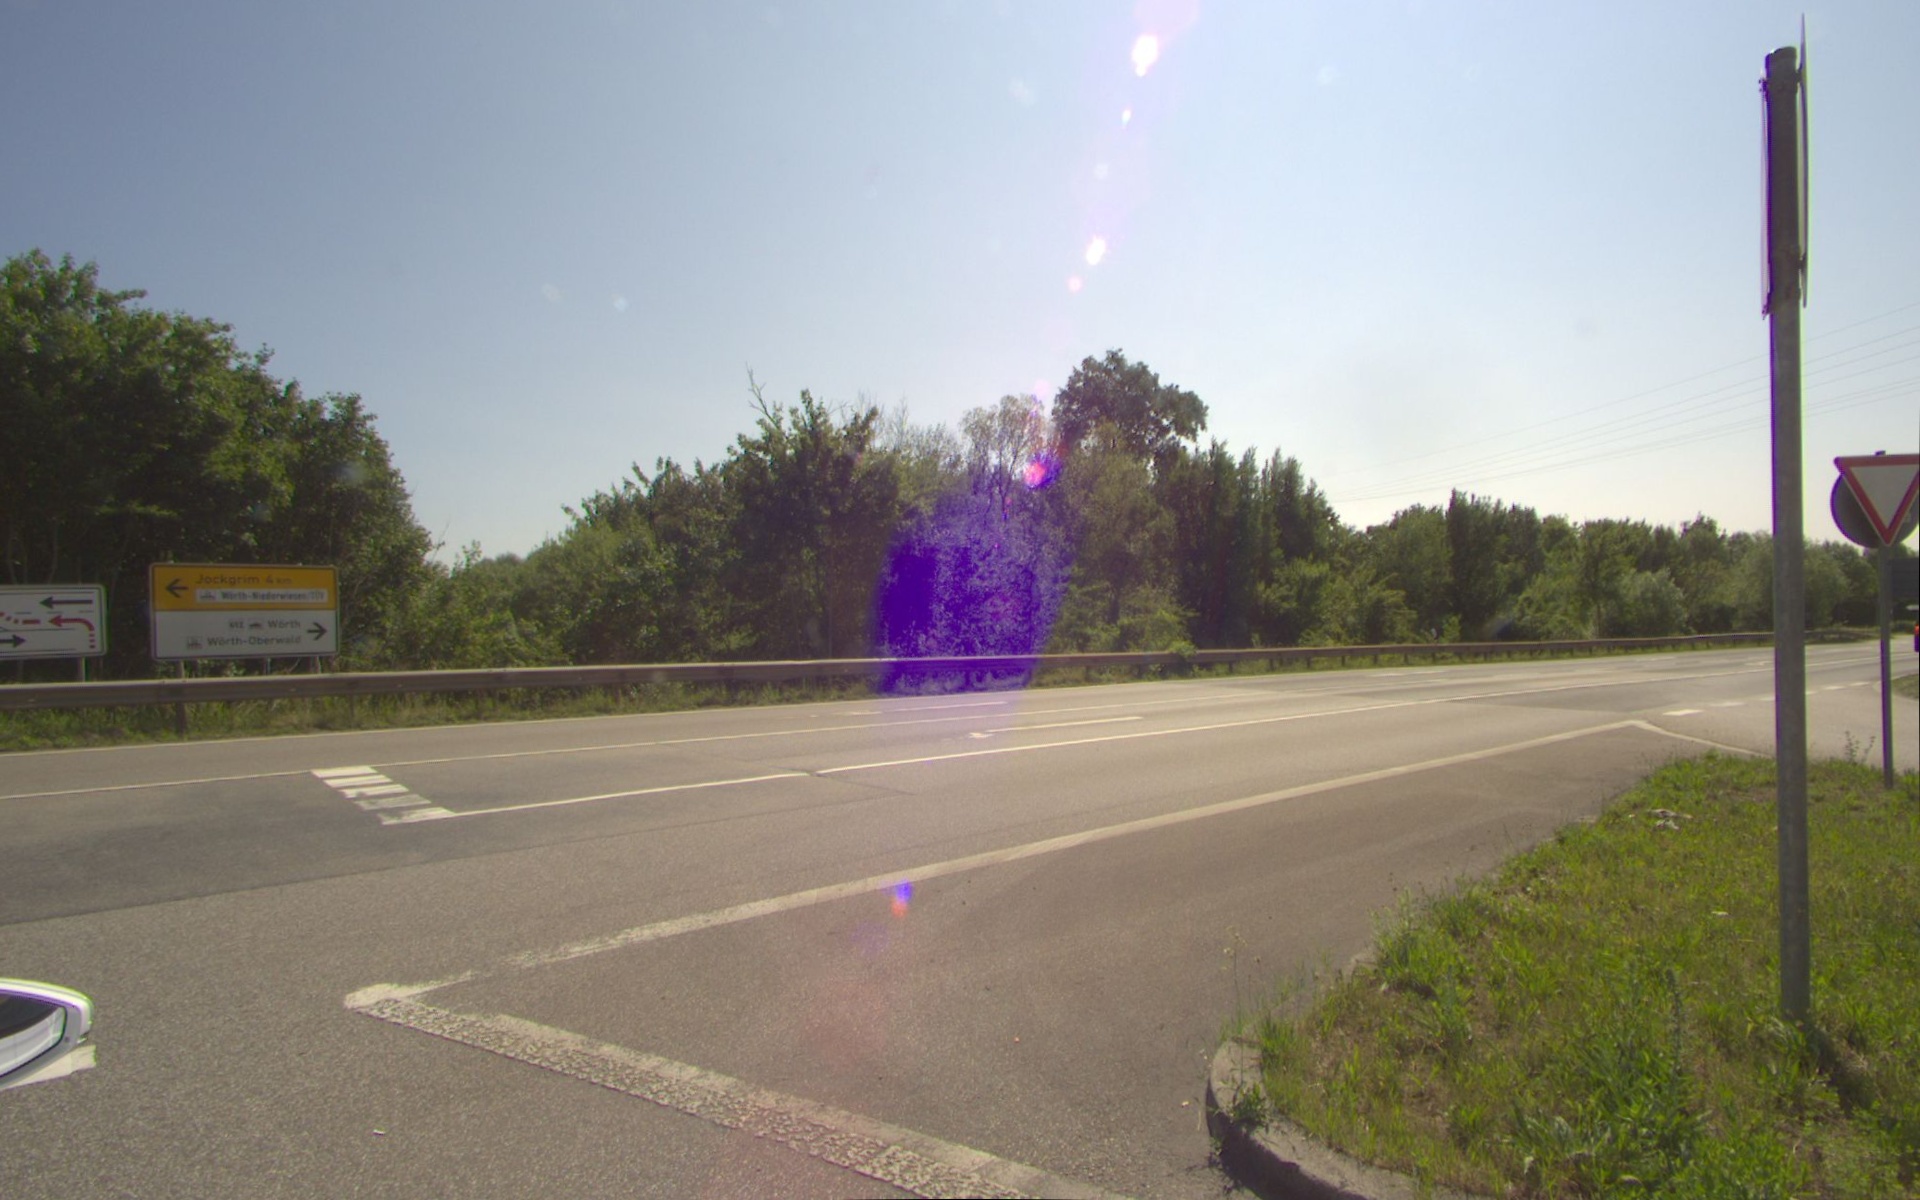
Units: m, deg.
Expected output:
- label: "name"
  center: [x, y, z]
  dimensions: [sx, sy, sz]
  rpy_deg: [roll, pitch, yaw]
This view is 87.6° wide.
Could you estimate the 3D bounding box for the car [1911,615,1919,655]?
- label: "car"
  center: [48.064, 1.704, 48.481]
  dimensions: [4.930, 1.903, 1.987]
  rpy_deg: [1, -2, -35]
